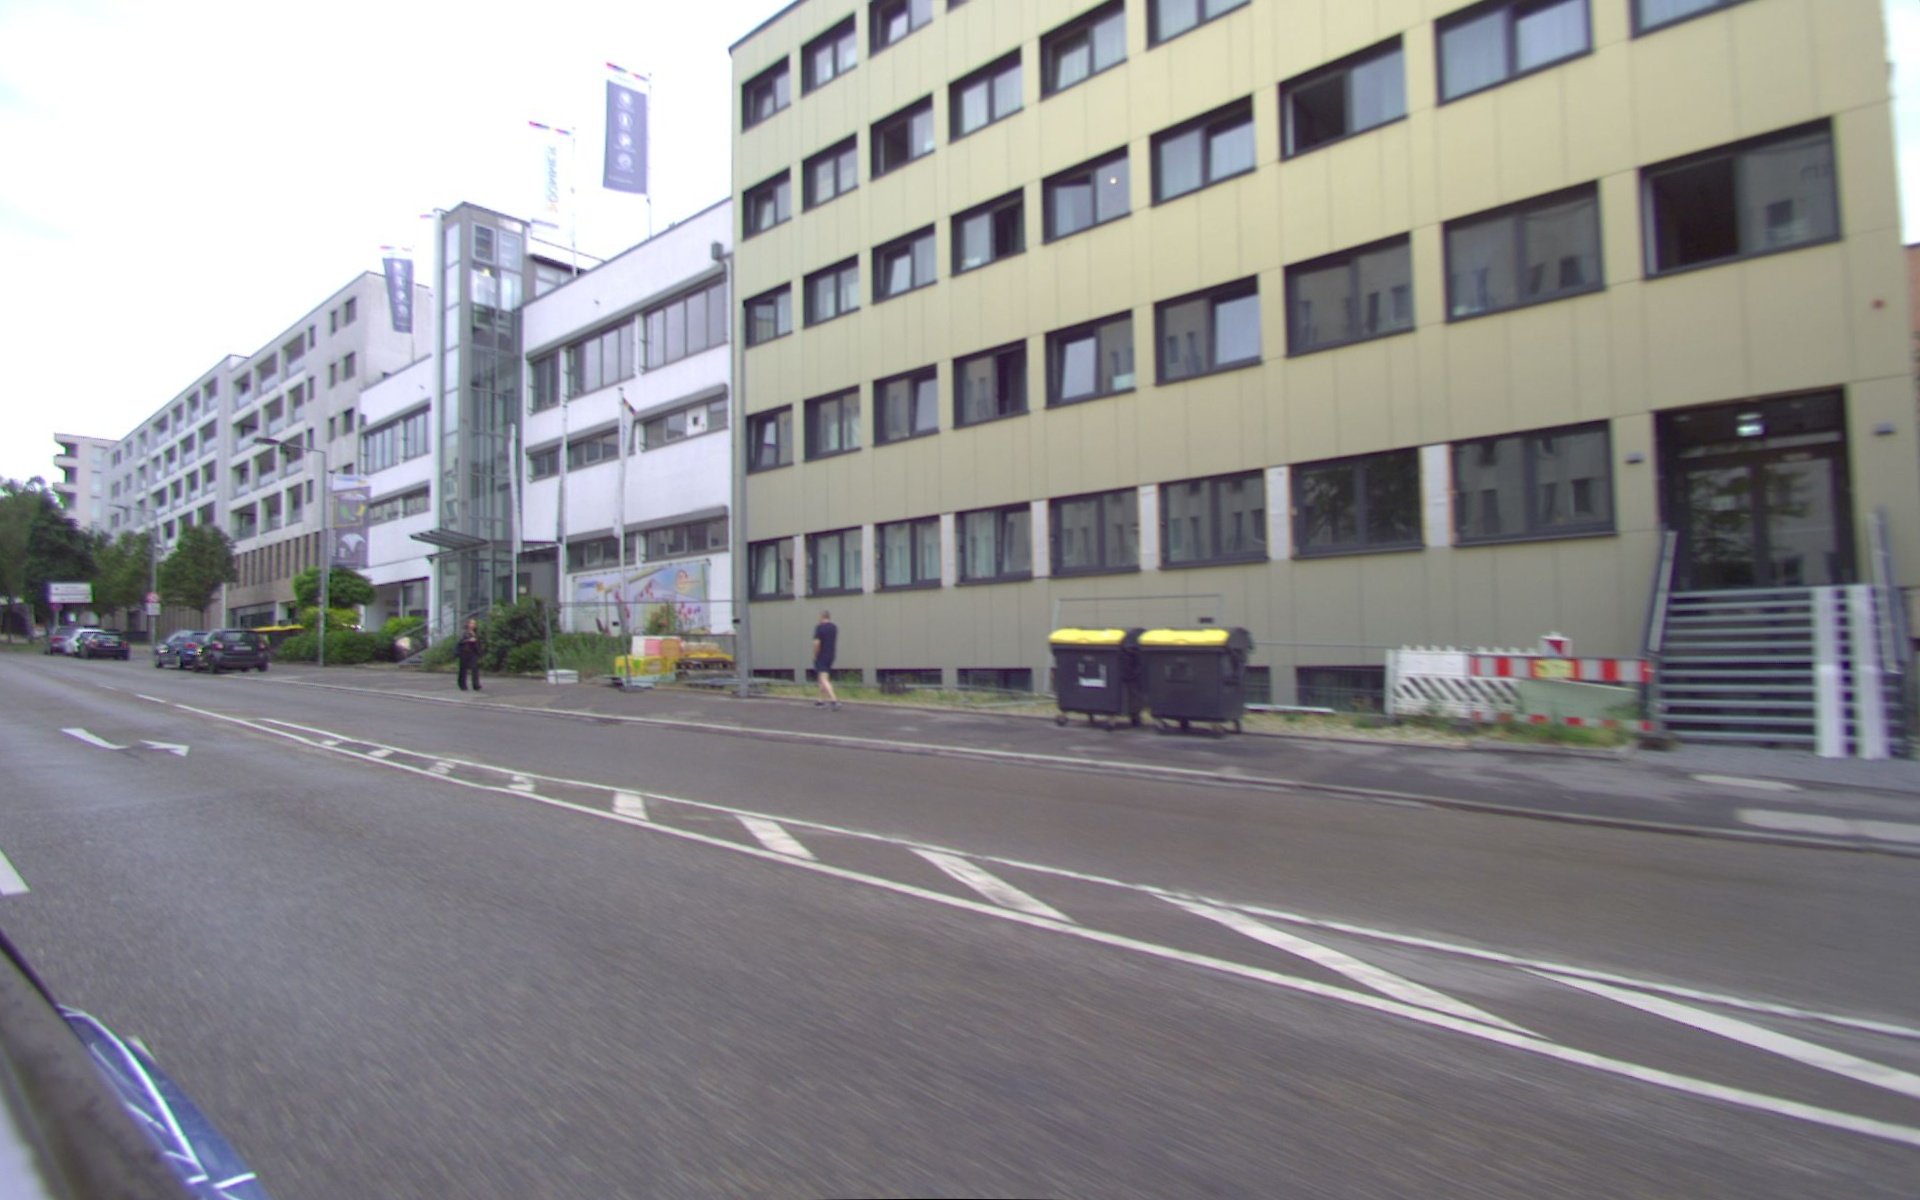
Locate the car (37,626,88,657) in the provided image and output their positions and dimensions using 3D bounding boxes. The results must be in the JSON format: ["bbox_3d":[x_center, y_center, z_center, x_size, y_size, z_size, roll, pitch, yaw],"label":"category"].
[{"bbox_3d":[-50.980,2.356,57.447,3.971,1.630,1.609,-2,-5,42],"label":"car"}]

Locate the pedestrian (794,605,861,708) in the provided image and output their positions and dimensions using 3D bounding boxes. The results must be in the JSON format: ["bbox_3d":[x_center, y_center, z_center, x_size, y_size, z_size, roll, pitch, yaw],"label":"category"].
[{"bbox_3d":[-2.345,0.976,17.953,0.942,1.745,0.746,-1,0,45],"label":"pedestrian"}]

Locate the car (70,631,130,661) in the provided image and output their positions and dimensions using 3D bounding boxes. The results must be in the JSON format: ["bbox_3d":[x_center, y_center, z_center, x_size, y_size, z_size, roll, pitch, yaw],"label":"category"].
[{"bbox_3d":[-43.517,2.341,51.210,3.736,1.402,1.641,-1,-4,40],"label":"car"}]

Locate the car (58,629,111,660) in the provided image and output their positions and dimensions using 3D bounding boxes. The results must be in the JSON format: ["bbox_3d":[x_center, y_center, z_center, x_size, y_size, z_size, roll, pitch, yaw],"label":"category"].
[{"bbox_3d":[-47.042,2.384,54.356,3.420,1.479,1.576,-1,-5,41],"label":"car"}]

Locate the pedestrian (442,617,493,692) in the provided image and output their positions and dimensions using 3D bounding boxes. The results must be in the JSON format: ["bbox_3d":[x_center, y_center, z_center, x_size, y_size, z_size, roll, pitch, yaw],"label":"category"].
[{"bbox_3d":[-11.480,1.244,23.592,0.968,1.689,0.758,-1,0,43],"label":"pedestrian"}]

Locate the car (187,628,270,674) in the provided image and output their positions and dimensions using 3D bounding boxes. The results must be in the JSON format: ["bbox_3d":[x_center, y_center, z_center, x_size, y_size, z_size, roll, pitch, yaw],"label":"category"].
[{"bbox_3d":[-25.763,1.803,35.632,2.977,1.521,1.500,-1,-4,37],"label":"car"}]

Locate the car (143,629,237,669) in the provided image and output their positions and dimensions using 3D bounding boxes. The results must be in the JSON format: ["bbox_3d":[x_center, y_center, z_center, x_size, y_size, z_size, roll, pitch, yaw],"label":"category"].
[{"bbox_3d":[-29.009,1.827,38.095,4.262,1.414,1.640,-1,-4,37],"label":"car"}]

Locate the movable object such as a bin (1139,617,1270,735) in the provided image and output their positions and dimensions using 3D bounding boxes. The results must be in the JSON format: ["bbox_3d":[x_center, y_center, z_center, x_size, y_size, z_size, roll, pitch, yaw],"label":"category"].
[{"bbox_3d":[3.278,0.970,13.617,1.358,1.456,1.042,-1,0,43],"label":"movable object such as a bin"}]

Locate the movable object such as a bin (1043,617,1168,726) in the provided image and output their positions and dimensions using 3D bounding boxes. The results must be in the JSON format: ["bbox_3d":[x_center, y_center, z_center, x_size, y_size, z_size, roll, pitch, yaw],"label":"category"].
[{"bbox_3d":[2.100,0.990,14.663,1.430,1.456,1.042,-1,0,43],"label":"movable object such as a bin"}]
